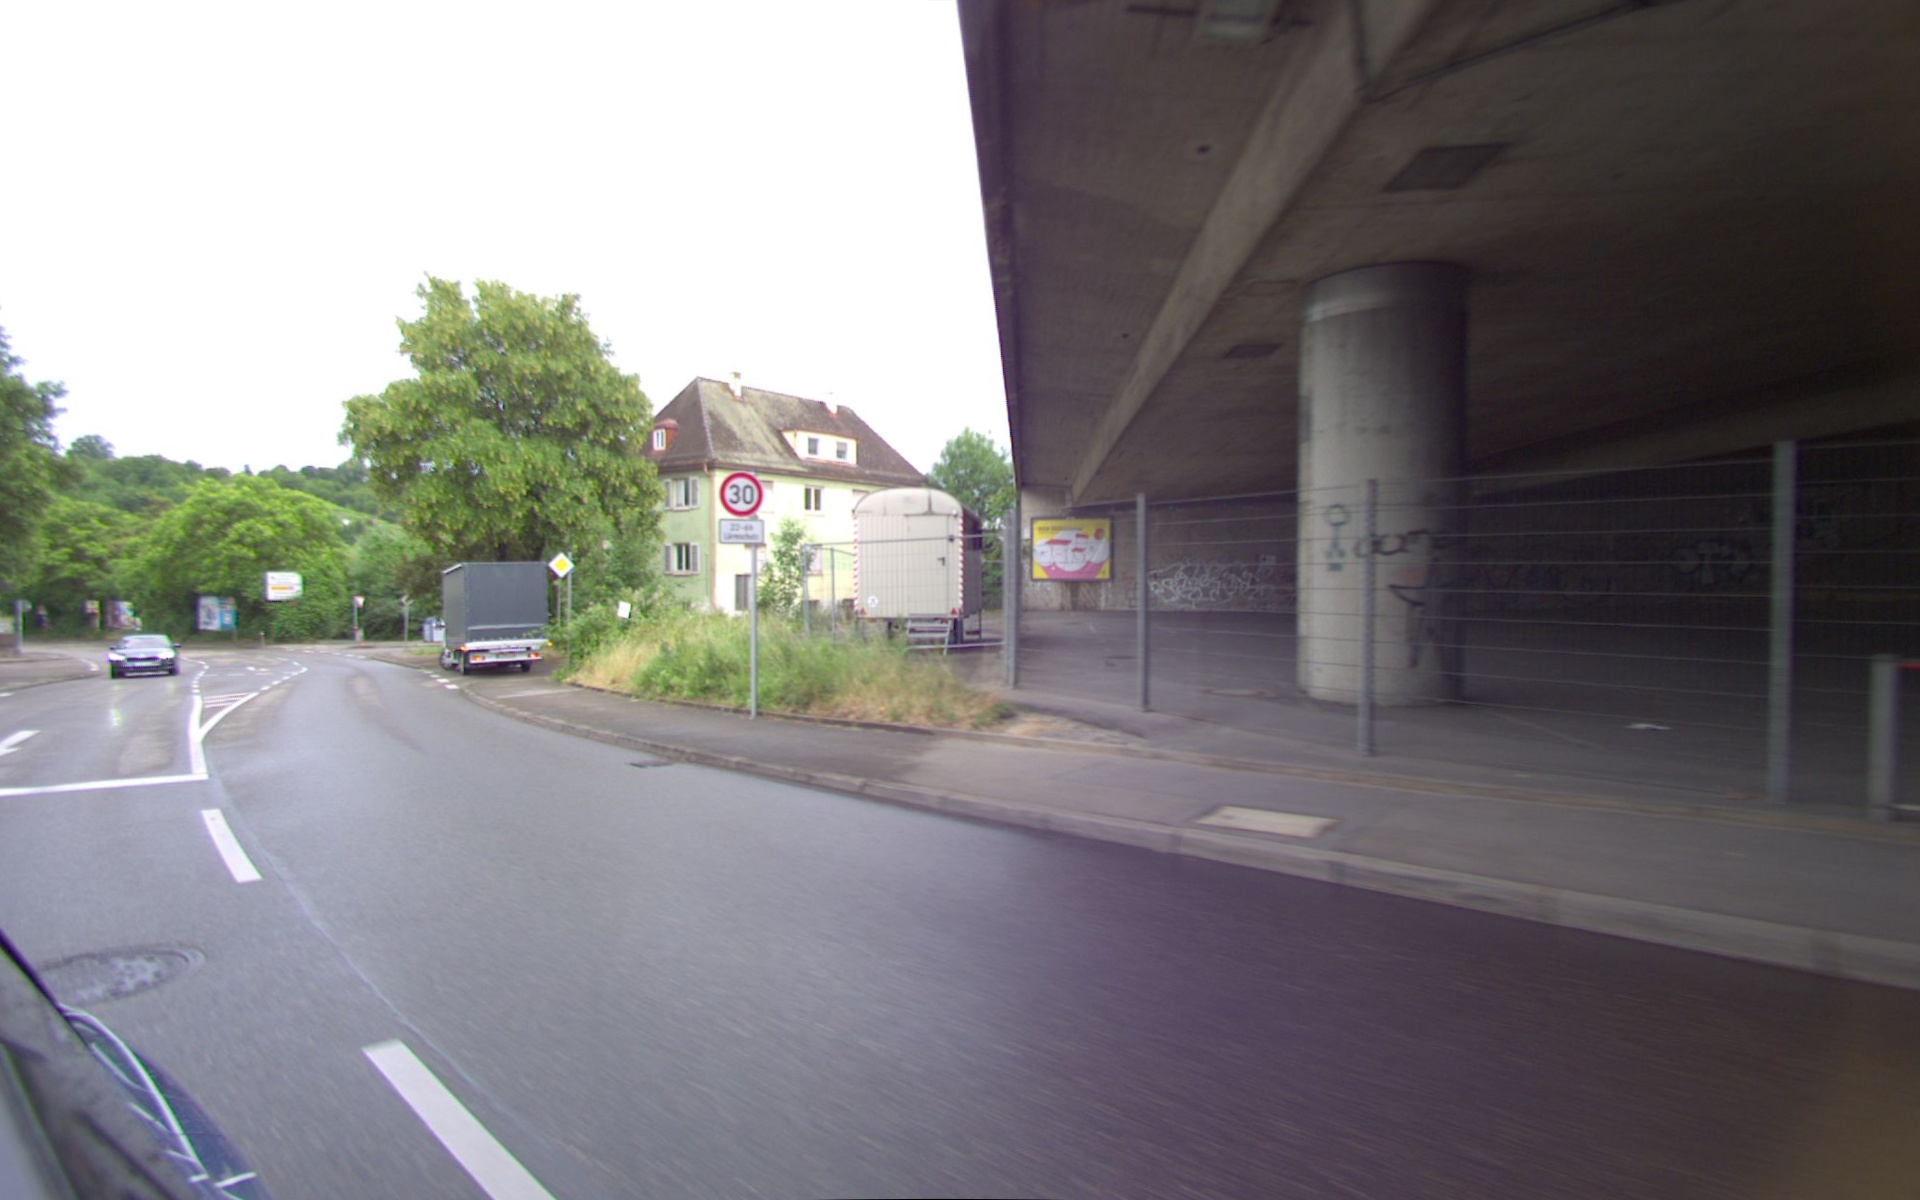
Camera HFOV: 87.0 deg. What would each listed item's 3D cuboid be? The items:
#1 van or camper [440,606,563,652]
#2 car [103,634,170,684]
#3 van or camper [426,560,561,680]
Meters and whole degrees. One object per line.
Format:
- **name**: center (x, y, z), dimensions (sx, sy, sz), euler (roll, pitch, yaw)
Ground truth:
- **van or camper**: center (-27.926, 1.737, 61.953), dimensions (2.218, 2.541, 6.617), euler (-2, -1, 35)
- **car**: center (-28.307, 1.989, 34.847), dimensions (1.681, 1.569, 4.008), euler (-1, -1, -38)
- **van or camper**: center (-15.138, 0.645, 32.479), dimensions (2.662, 3.360, 7.781), euler (-1, -1, -34)
